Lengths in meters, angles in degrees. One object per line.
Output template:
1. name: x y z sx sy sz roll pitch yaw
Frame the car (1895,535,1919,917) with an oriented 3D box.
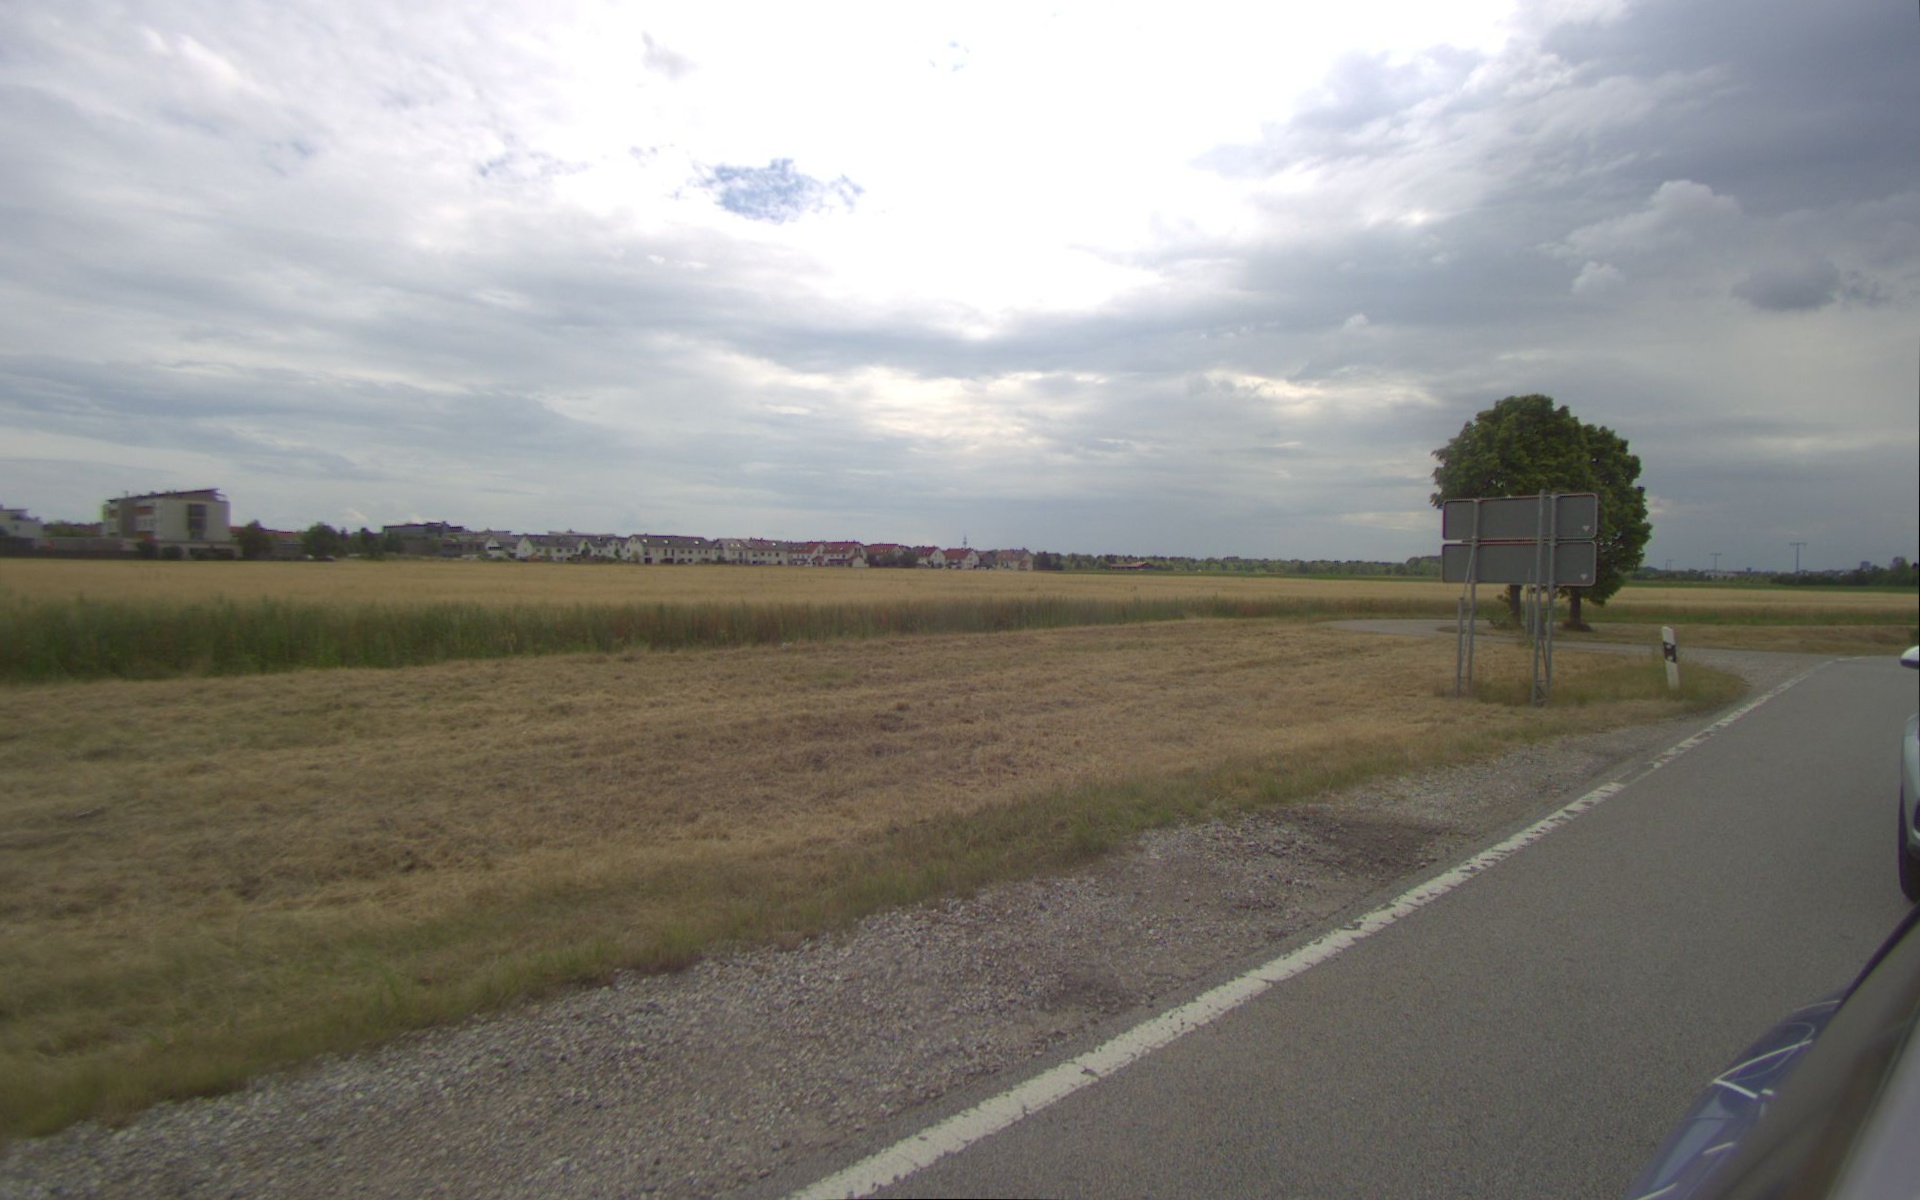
1. car: 6.196 0.548 5.179 4.377 1.606 1.833 -1 3 -45
